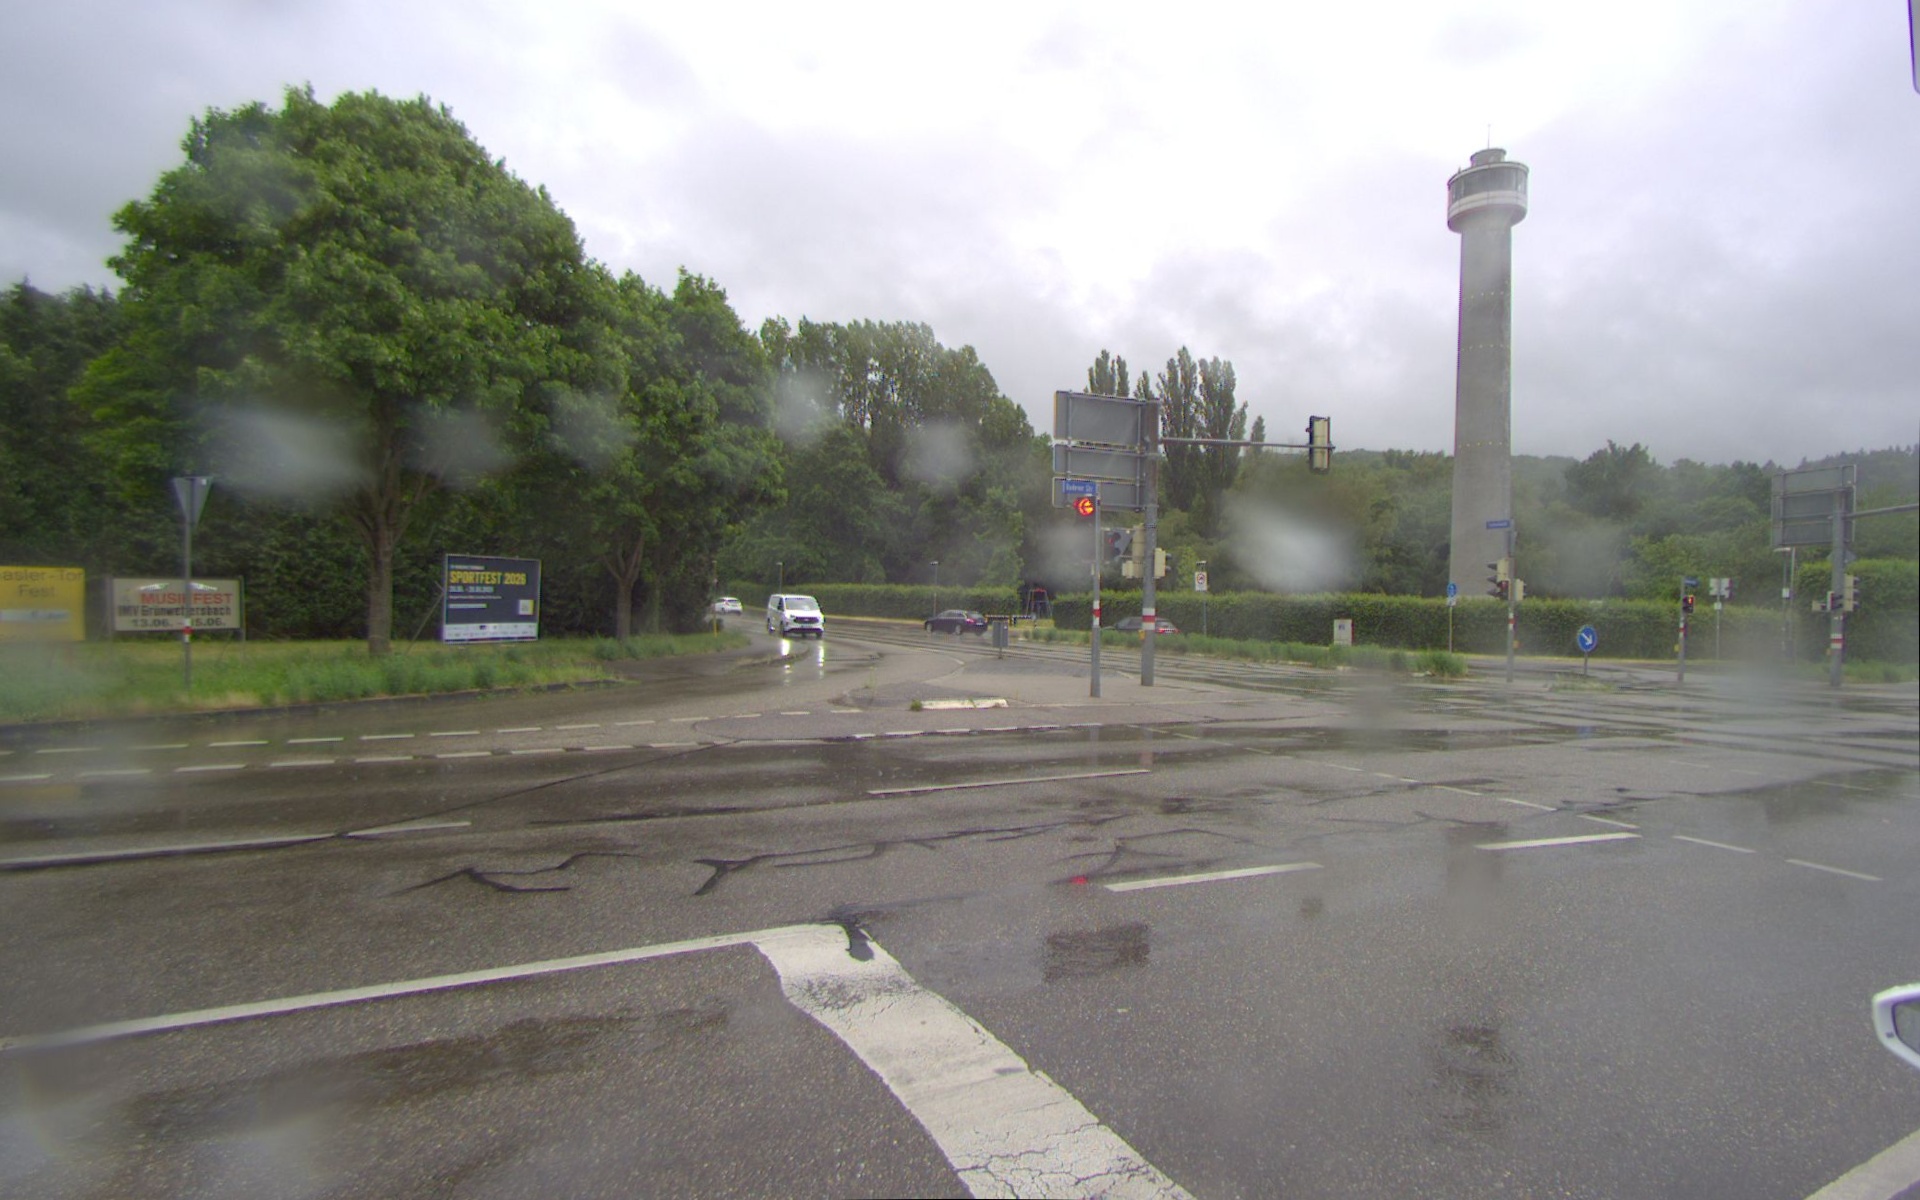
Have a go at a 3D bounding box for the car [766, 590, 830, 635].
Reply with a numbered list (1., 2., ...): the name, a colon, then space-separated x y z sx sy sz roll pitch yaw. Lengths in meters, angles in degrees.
1. car: -7.987 0.652 49.160 2.085 2.040 4.730 1 -2 -22

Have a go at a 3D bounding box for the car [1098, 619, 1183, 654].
1. car: 8.777 1.740 49.161 1.797 1.574 4.657 1 -1 -24

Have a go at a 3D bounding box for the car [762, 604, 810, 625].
1. car: -13.404 1.086 77.135 1.804 1.574 4.639 1 -1 -35

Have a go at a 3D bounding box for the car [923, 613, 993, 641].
1. car: -0.173 1.639 61.103 1.807 1.574 4.633 1 -1 -38

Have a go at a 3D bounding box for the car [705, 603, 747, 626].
1. car: -20.219 1.209 86.698 1.896 1.941 4.638 1 -1 -35
